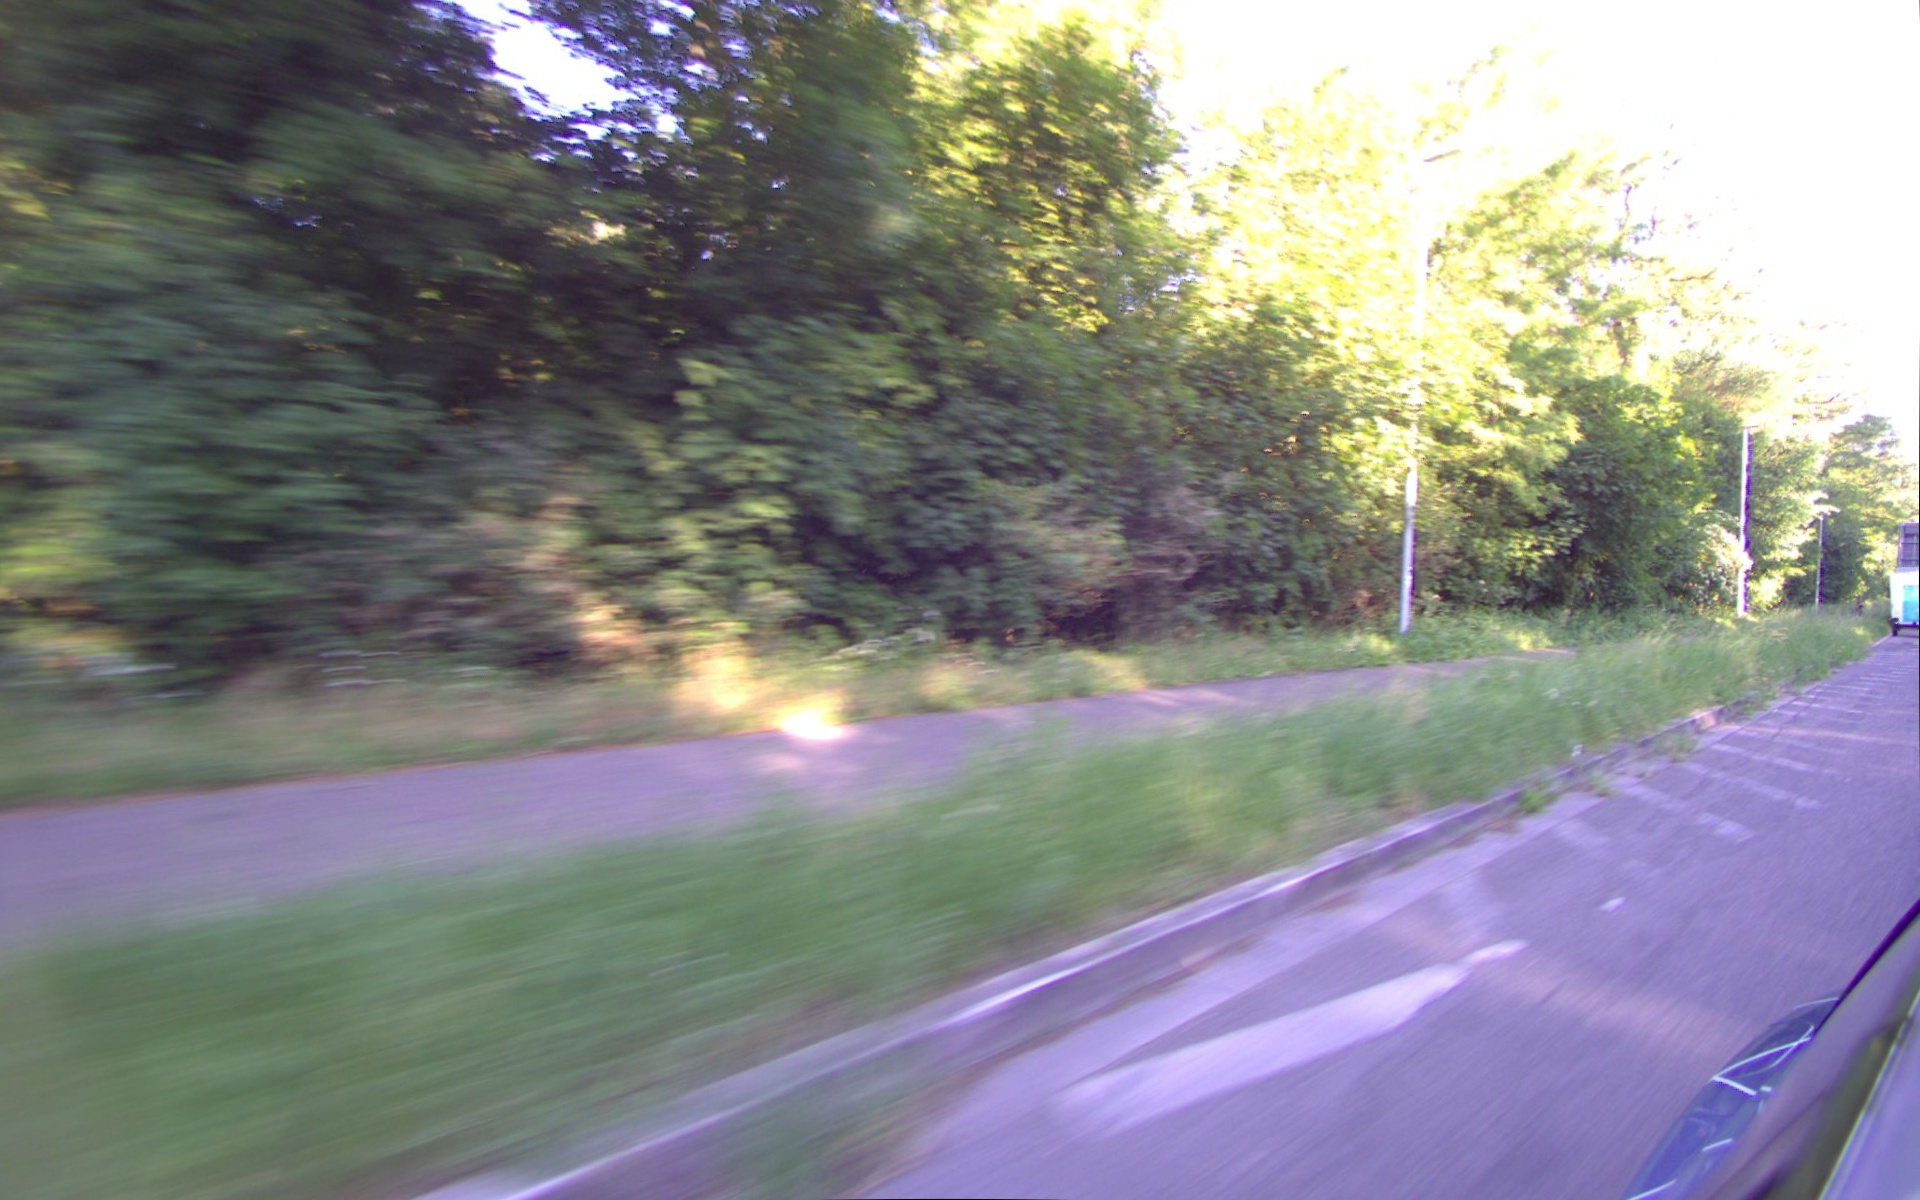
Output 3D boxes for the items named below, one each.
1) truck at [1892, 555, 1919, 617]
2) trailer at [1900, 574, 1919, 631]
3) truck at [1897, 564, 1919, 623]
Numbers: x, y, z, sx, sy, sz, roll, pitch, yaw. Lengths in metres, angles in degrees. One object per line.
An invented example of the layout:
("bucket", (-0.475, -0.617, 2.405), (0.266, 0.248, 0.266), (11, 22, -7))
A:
("truck", (54.575, -0.779, 57.004), (2.701, 3.276, 7.016), (4, 4, 44))
("trailer", (38.721, 0.081, 40.233), (1.865, 2.205, 4.064), (1, 1, 44))
("truck", (49.268, -0.379, 51.331), (2.384, 2.908, 5.510), (-1, 0, 44))
